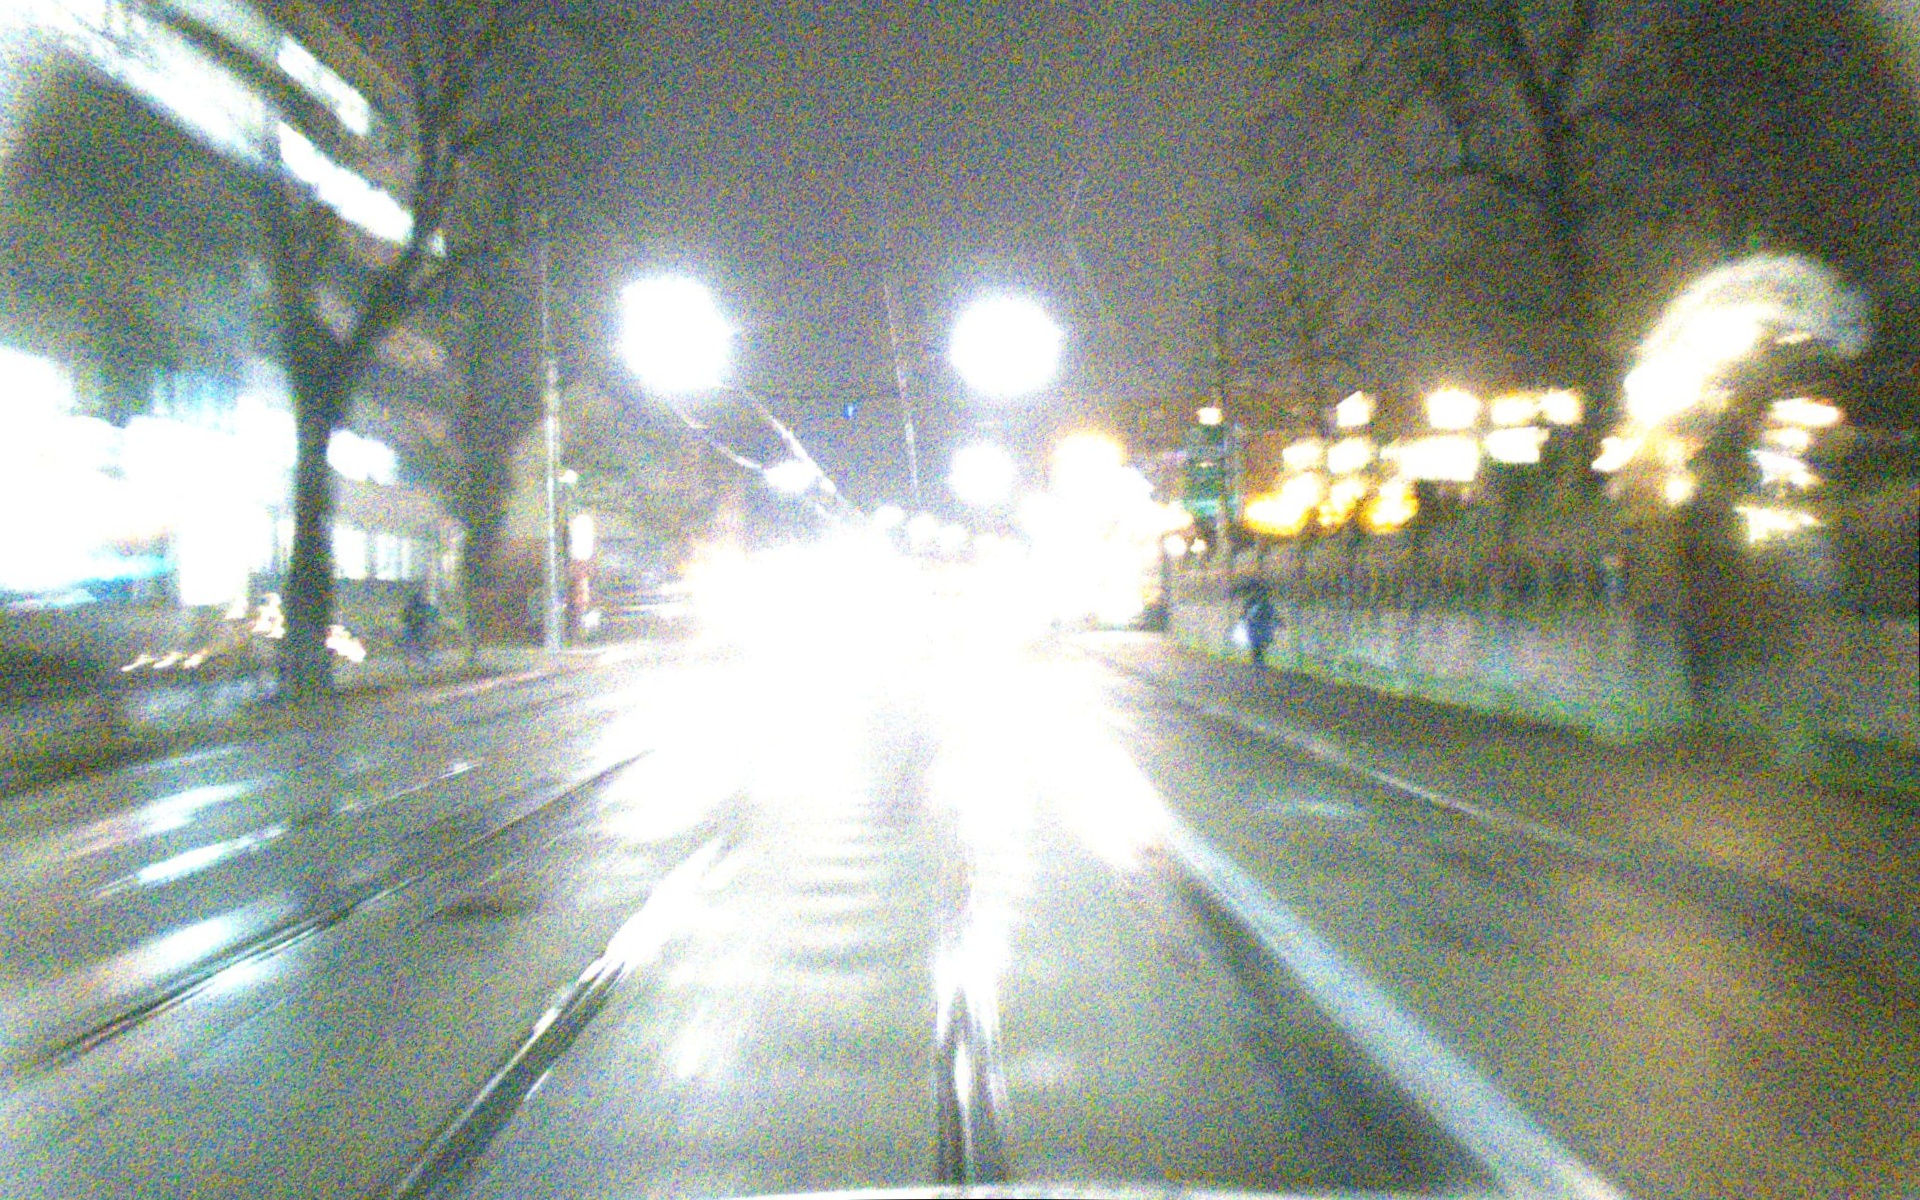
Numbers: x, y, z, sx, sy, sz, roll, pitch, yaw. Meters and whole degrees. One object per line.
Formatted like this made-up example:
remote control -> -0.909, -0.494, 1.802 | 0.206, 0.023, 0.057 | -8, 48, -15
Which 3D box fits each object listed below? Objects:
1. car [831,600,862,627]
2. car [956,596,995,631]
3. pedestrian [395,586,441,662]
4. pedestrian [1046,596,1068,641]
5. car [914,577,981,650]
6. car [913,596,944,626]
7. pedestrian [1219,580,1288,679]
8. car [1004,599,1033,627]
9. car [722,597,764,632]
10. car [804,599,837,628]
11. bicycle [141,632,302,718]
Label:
car -> -8.492, 0.972, 123.947 | 2.274, 1.966, 4.959 | 0, 0, -4
car -> 0.849, 0.709, 87.603 | 1.974, 1.847, 4.001 | 0, 0, 1
pedestrian -> -12.393, 0.552, 37.842 | 0.770, 1.716, 0.882 | 0, 0, -1
pedestrian -> 3.976, 0.750, 67.831 | 0.761, 1.807, 0.694 | 0, -1, 16
car -> -0.476, 0.440, 56.880 | 2.199, 2.402, 4.392 | 0, 0, -2
car -> -2.004, 0.708, 104.275 | 1.953, 1.847, 3.999 | 0, 0, -2
pedestrian -> 5.239, 0.513, 29.572 | 0.921, 1.693, 0.993 | -3, 0, -5
car -> 4.322, 0.937, 123.383 | 1.953, 2.049, 3.999 | 0, 0, -1
car -> -12.987, 0.867, 99.152 | 1.953, 2.049, 4.000 | 0, 0, 0
car -> -8.616, 0.826, 102.188 | 1.954, 1.755, 4.073 | 0, 0, -4
bicycle -> -9.620, 0.969, 21.577 | 1.816, 1.096, 0.627 | 0, 0, -1
